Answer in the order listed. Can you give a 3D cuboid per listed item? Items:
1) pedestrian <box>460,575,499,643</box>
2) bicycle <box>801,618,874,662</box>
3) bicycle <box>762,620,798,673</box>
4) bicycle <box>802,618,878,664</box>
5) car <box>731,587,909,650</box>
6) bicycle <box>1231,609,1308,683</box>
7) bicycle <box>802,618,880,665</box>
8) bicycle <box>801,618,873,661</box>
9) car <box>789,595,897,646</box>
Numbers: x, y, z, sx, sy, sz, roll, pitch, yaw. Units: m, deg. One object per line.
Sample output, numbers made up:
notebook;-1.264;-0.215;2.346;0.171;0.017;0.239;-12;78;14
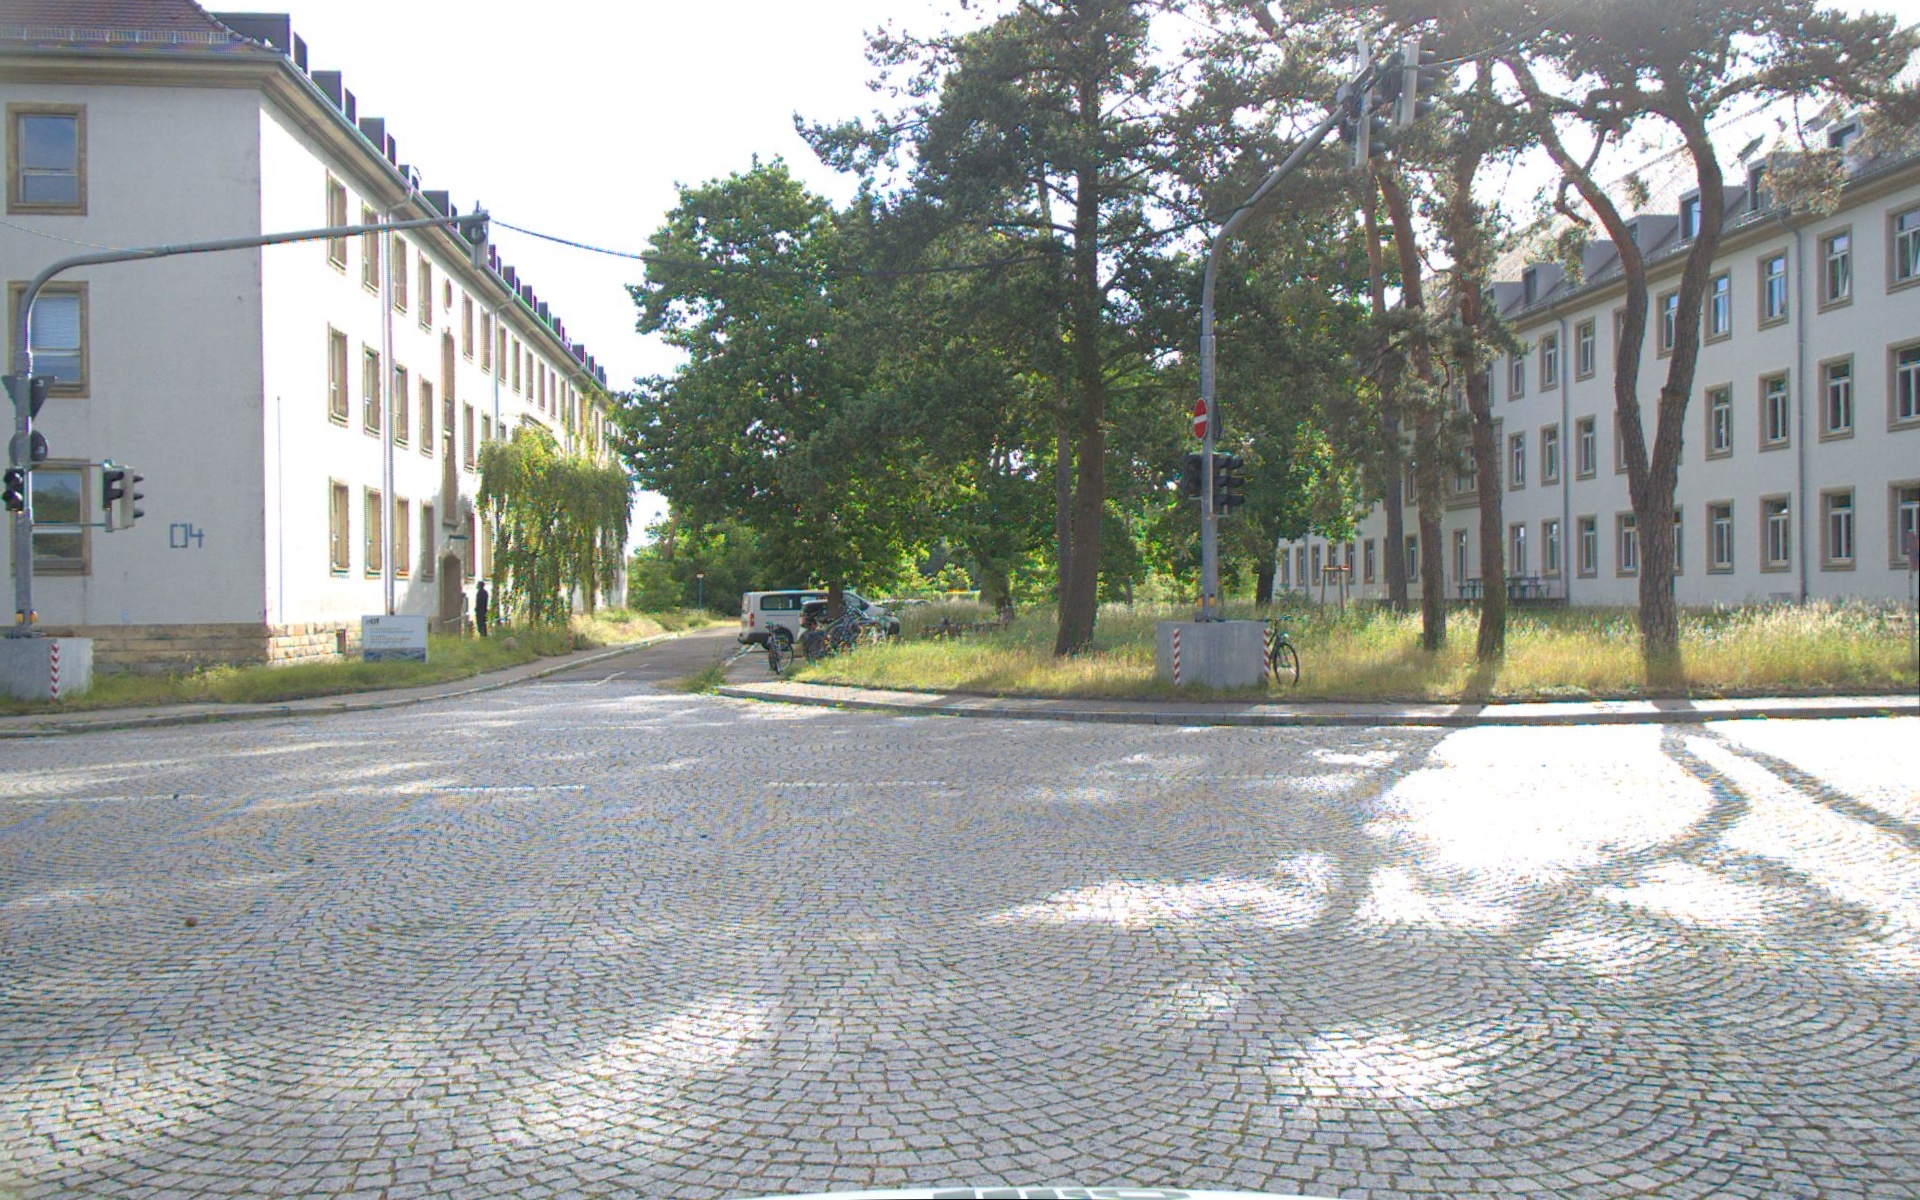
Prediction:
pedestrian;-14.374;0.261;49.466;0.966;1.998;0.931;0;-1;-6
bicycle;-3.033;0.976;40.771;1.759;1.016;0.643;-1;1;-7
bicycle;-3.749;0.963;34.559;0.714;1.016;1.797;-1;1;-6
bicycle;-2.855;0.962;39.282;1.759;1.016;0.643;-1;1;-7
car;-4.587;0.589;54.083;5.419;1.949;2.241;0;-1;-20
bicycle;4.619;0.667;24.806;0.552;1.016;1.748;-1;1;-10
bicycle;-2.755;0.951;38.268;1.759;1.016;0.643;-1;1;-7
bicycle;-3.097;0.981;41.506;1.759;1.016;0.643;-1;1;-7
car;-3.592;0.627;50.606;2.986;1.491;1.711;0;-1;-19
